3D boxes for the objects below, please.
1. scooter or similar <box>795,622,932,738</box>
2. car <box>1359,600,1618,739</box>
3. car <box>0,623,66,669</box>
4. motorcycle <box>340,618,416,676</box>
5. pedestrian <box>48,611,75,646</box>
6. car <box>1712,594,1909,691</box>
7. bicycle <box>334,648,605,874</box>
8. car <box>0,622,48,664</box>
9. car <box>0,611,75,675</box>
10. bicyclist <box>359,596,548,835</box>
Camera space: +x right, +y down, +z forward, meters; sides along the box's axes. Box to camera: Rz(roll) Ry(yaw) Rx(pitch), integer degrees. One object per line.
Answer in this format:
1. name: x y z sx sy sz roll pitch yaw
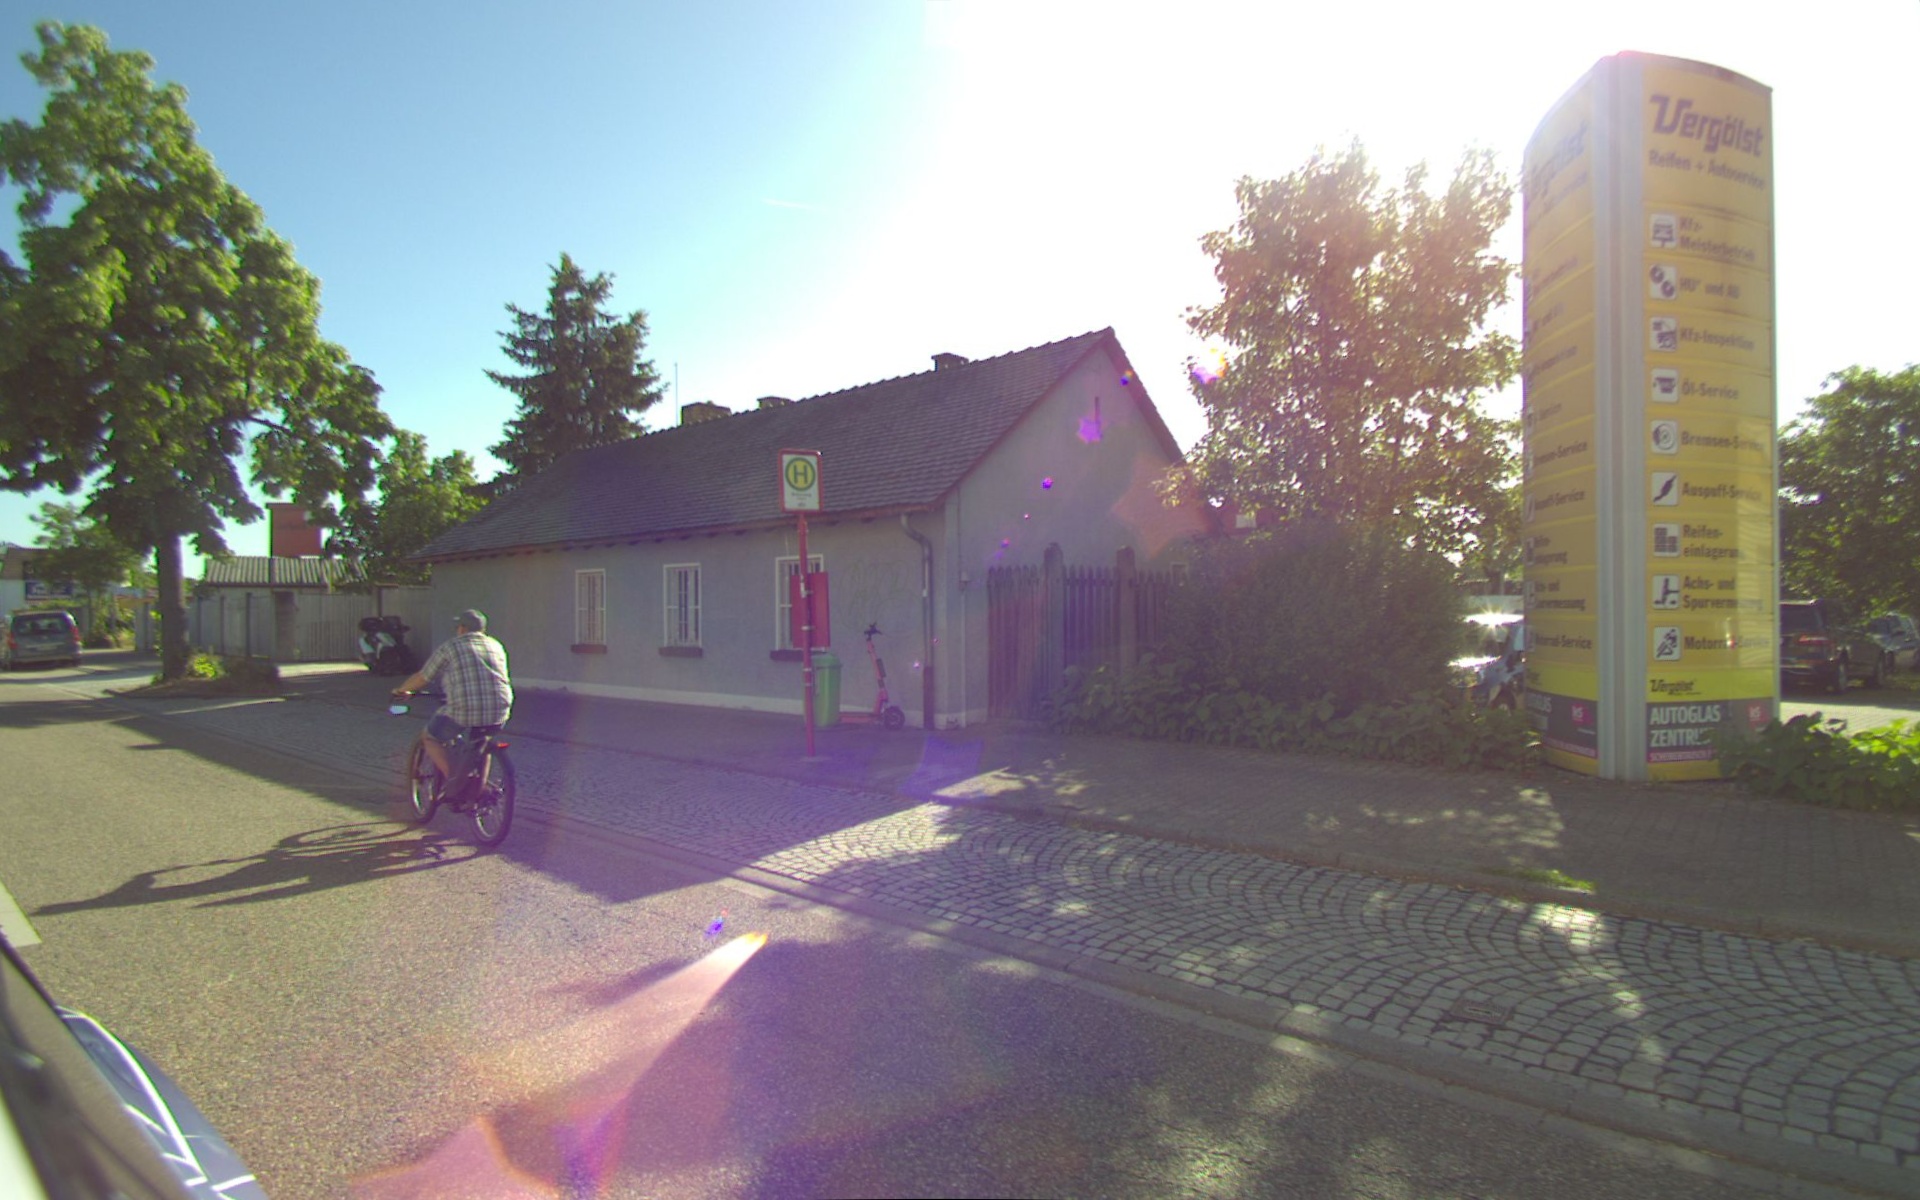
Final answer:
1. scooter or similar: -1.136 0.906 11.829 1.568 1.280 0.479 -1 -1 24
2. car: 6.975 0.782 13.178 4.011 1.527 1.775 0 -1 -44
3. car: -33.313 1.606 35.943 4.613 1.459 1.757 -1 1 41
4. motorcycle: -13.540 1.068 23.496 2.537 1.242 0.692 -1 1 41
5. pedestrian: -45.793 1.447 51.575 0.749 1.756 0.811 -1 1 34
6. car: 16.437 0.754 19.506 4.262 1.668 2.004 0 -1 -37
7. bicycle: -3.556 1.011 7.180 2.605 1.249 0.830 0 -3 44
8. car: -36.795 1.630 39.063 4.921 1.459 1.757 -1 1 41
9. car: -29.868 1.323 32.487 4.616 1.863 1.756 -1 1 44
10. bicyclist: -3.659 0.774 7.301 1.137 1.554 0.830 0 -3 44
